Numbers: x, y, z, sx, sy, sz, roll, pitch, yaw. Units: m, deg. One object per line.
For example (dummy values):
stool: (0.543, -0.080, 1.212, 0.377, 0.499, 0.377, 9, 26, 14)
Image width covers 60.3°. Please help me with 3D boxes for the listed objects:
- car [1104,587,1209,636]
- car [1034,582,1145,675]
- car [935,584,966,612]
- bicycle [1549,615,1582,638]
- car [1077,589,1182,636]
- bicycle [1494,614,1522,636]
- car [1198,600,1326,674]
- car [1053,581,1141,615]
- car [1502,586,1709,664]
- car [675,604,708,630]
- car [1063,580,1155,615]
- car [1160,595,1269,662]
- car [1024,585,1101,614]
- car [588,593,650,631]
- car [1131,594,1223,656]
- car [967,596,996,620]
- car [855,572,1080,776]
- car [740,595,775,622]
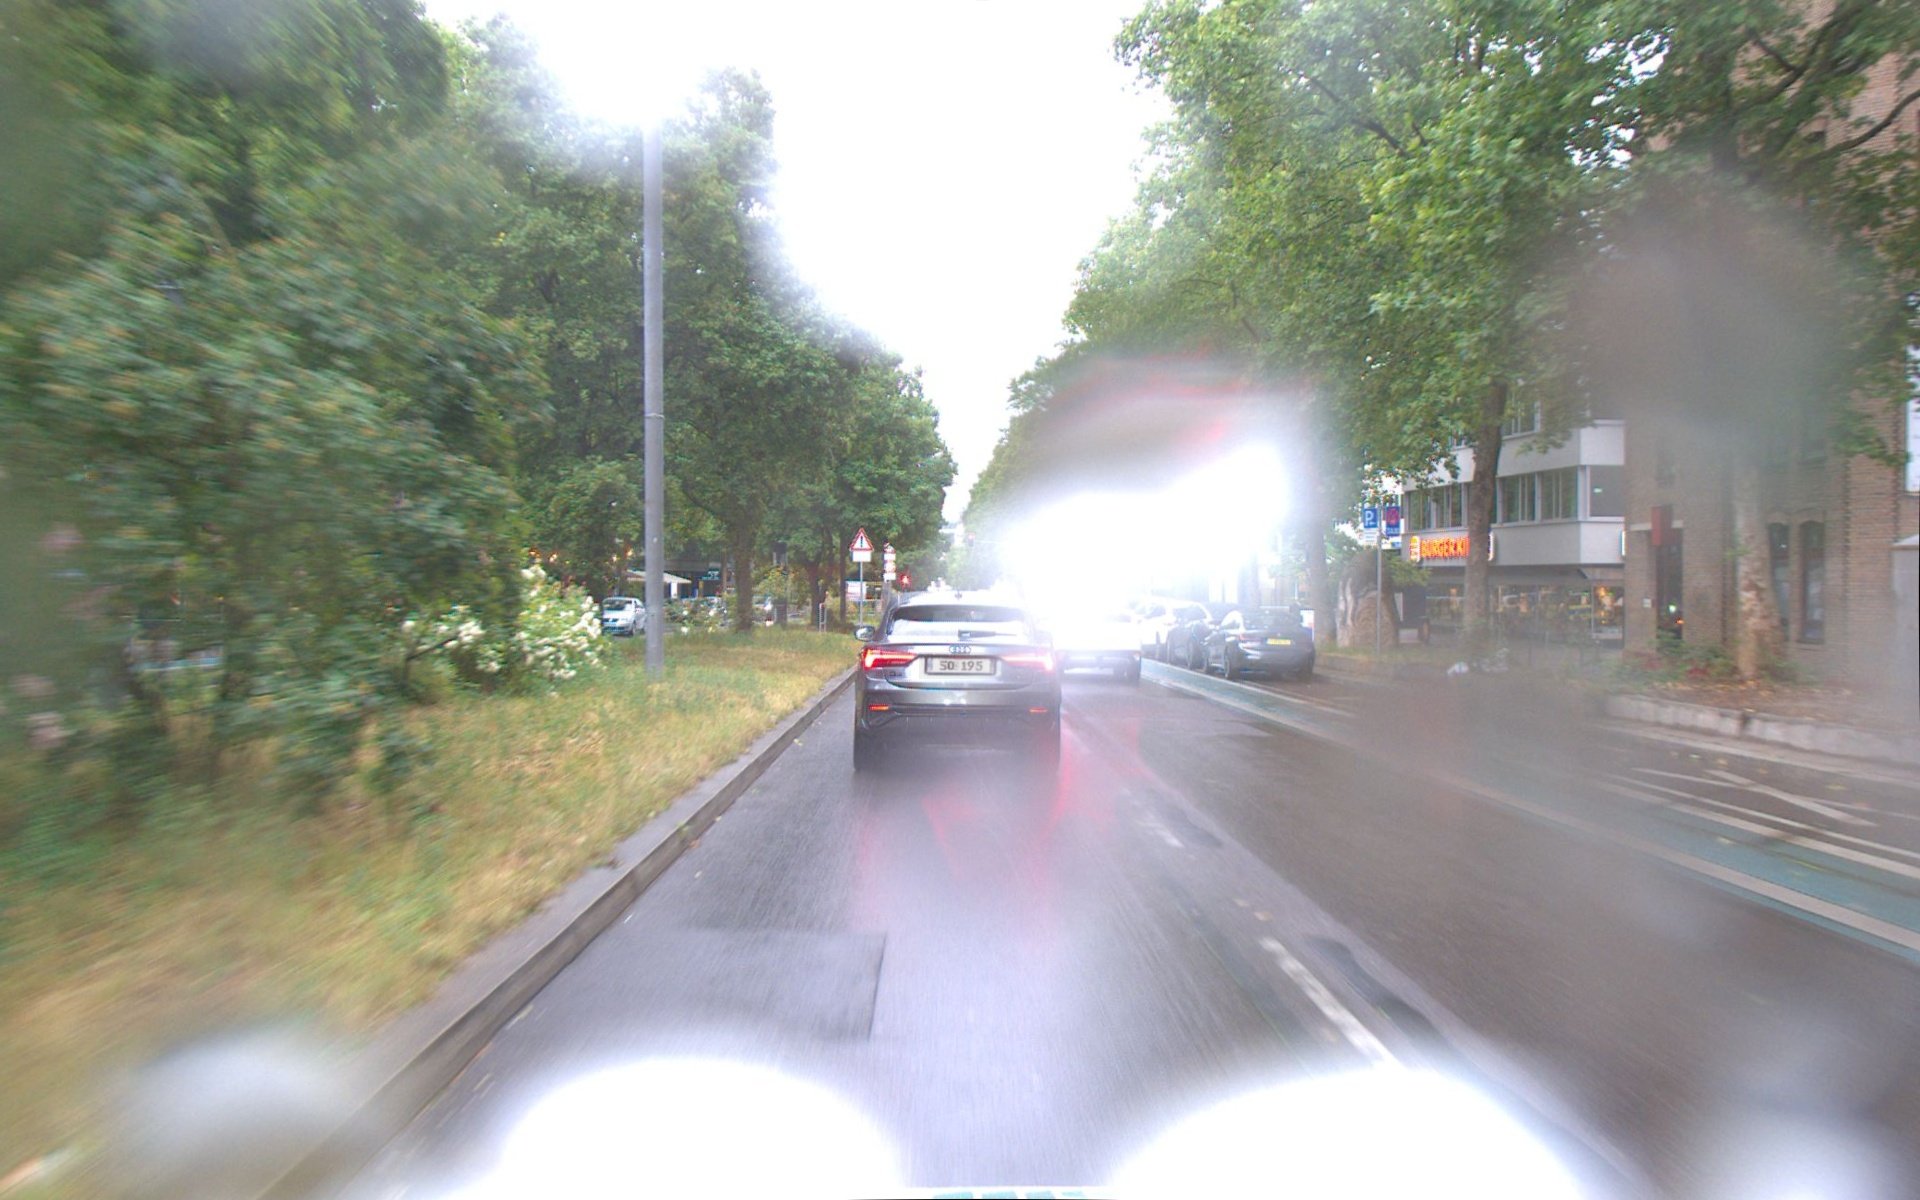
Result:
car: (9.787, 0.572, 82.505, 4.787, 2.293, 1.997, 2, -1, 28)
car: (2.592, 0.569, 33.929, 1.840, 1.727, 3.999, 2, -1, -1)
car: (-0.667, -0.127, 110.254, 1.953, 1.757, 3.998, 2, -1, -2)
bicycle: (22.540, 0.986, 61.586, 0.439, 0.851, 2.026, 2, -1, -1)
car: (7.883, 0.565, 77.142, 4.517, 2.049, 1.960, 1, -1, 37)
bicycle: (22.260, 1.022, 67.224, 0.439, 0.851, 2.026, 2, -1, -1)
car: (6.519, 0.775, 36.153, 1.835, 1.446, 4.610, 2, 0, -1)
car: (7.797, -0.116, 94.263, 4.548, 1.736, 1.998, 2, -1, 27)
car: (10.104, 0.383, 25.905, 2.830, 1.093, 1.453, 2, -1, 30)
car: (-14.139, 0.884, 87.190, 1.658, 1.280, 3.637, 2, -1, -9)
car: (8.174, -0.153, 90.727, 4.548, 1.736, 1.998, 2, -1, 27)
car: (6.408, 0.713, 42.078, 1.830, 1.547, 4.556, 2, -1, -3)
car: (6.714, -0.025, 108.267, 4.548, 1.736, 1.998, 2, -1, 27)
car: (-13.382, 0.474, 65.082, 1.615, 1.460, 3.812, 0, -1, 0)
car: (6.076, 0.689, 46.675, 1.694, 1.599, 4.069, 2, -1, -5)
car: (1.527, 0.586, 118.512, 1.953, 1.680, 3.999, 2, -1, -1)
car: (-0.002, 0.610, 15.519, 1.812, 1.630, 3.998, 1, 0, -2)
car: (-13.825, 0.599, 112.983, 1.724, 1.733, 4.333, 2, -1, 1)
